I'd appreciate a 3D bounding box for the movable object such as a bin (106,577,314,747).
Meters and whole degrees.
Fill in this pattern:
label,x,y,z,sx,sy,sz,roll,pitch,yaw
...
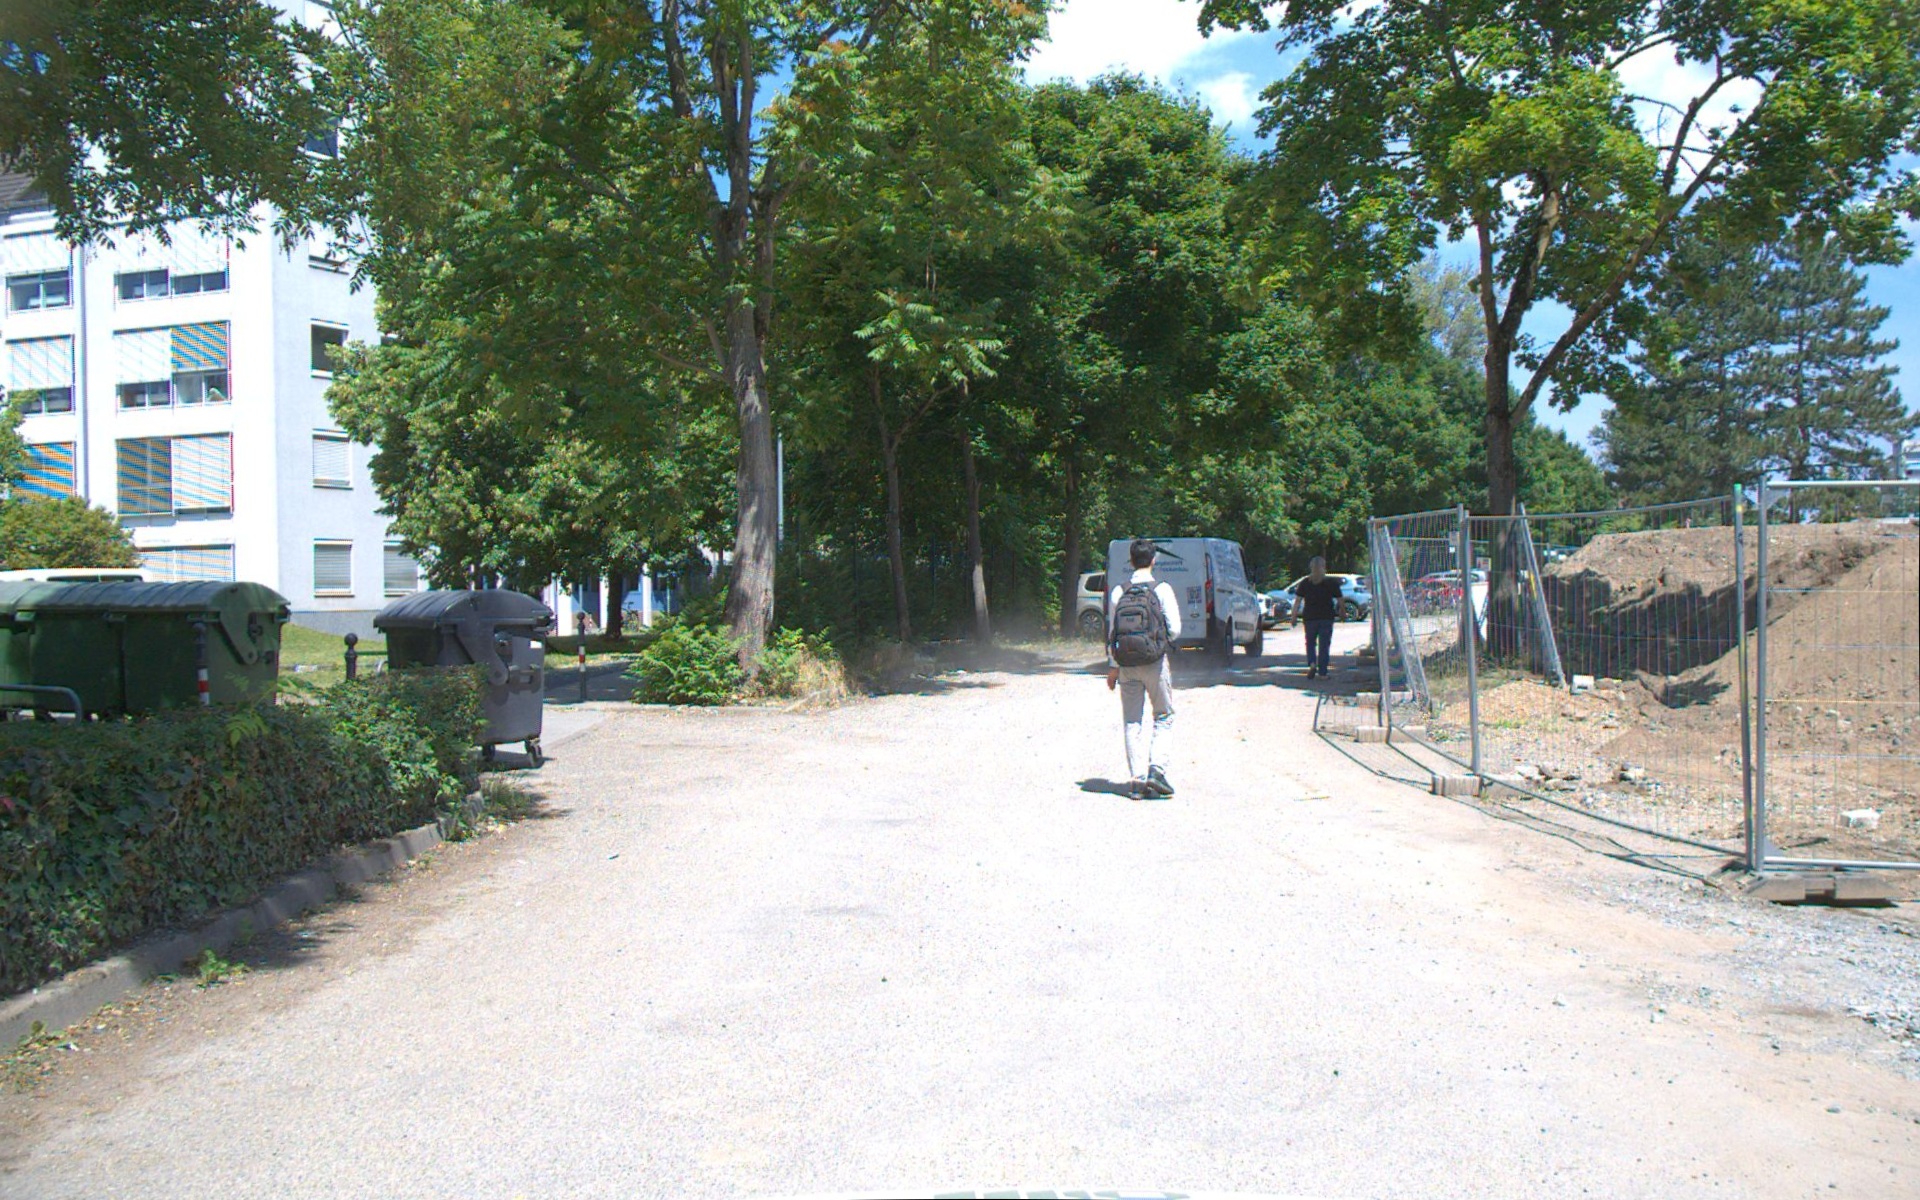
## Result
label,x,y,z,sx,sy,sz,roll,pitch,yaw
movable object such as a bin,-7.048,0.550,15.579,1.294,1.505,1.207,-1,1,24

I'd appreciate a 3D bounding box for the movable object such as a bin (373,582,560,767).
label,x,y,z,sx,sy,sz,roll,pitch,yaw
movable object such as a bin,-4.085,0.573,13.672,1.106,1.418,1.144,-2,1,-40

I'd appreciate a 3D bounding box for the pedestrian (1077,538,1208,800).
label,x,y,z,sx,sy,sz,roll,pitch,yaw
pedestrian,1.292,0.456,11.667,0.855,1.759,1.081,-1,1,7

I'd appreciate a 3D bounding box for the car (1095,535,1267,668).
label,x,y,z,sx,sy,sz,roll,pitch,yaw
car,3.723,-0.008,27.131,1.932,1.981,4.583,-1,1,19

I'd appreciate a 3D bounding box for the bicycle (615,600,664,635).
label,x,y,z,sx,sy,sz,roll,pitch,yaw
bicycle,-10.597,0.570,54.746,0.588,1.103,1.939,2,2,25

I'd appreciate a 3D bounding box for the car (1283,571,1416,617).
label,x,y,z,sx,sy,sz,roll,pitch,yaw
car,14.279,-0.215,60.689,4.418,1.625,1.934,0,1,27

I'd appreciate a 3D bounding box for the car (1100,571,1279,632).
label,x,y,z,sx,sy,sz,roll,pitch,yaw
car,6.128,0.038,44.222,4.417,1.558,1.724,0,1,26

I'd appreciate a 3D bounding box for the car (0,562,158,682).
label,x,y,z,sx,sy,sz,roll,pitch,yaw
car,-16.953,0.379,29.249,1.954,2.049,4.770,-1,0,26

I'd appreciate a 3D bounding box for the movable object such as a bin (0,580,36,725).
label,x,y,z,sx,sy,sz,roll,pitch,yaw
movable object such as a bin,-10.722,0.558,17.491,1.378,1.505,1.046,-1,1,27

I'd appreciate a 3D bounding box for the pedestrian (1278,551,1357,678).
label,x,y,z,sx,sy,sz,roll,pitch,yaw
pedestrian,4.868,0.183,22.599,1.013,1.678,1.050,-1,1,11

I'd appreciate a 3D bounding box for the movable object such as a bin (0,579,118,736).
label,x,y,z,sx,sy,sz,roll,pitch,yaw
movable object such as a bin,-9.440,0.556,16.793,1.233,1.505,1.046,-1,1,27

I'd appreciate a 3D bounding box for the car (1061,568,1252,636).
label,x,y,z,sx,sy,sz,roll,pitch,yaw
car,4.981,0.071,41.965,4.418,1.637,1.997,0,-1,27

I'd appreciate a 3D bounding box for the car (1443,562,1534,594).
label,x,y,z,sx,sy,sz,roll,pitch,yaw
car,27.971,-1.142,87.569,4.417,1.625,1.724,-1,1,26

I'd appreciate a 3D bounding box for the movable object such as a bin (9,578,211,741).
label,x,y,z,sx,sy,sz,roll,pitch,yaw
movable object such as a bin,-8.243,0.555,16.082,1.327,1.505,1.097,-1,1,16

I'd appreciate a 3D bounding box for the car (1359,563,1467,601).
label,x,y,z,sx,sy,sz,roll,pitch,yaw
car,20.386,-0.794,74.459,4.417,1.625,1.724,-1,1,26

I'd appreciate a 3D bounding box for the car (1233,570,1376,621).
label,x,y,z,sx,sy,sz,roll,pitch,yaw
car,11.576,-0.156,55.570,4.417,1.625,1.724,0,1,26
